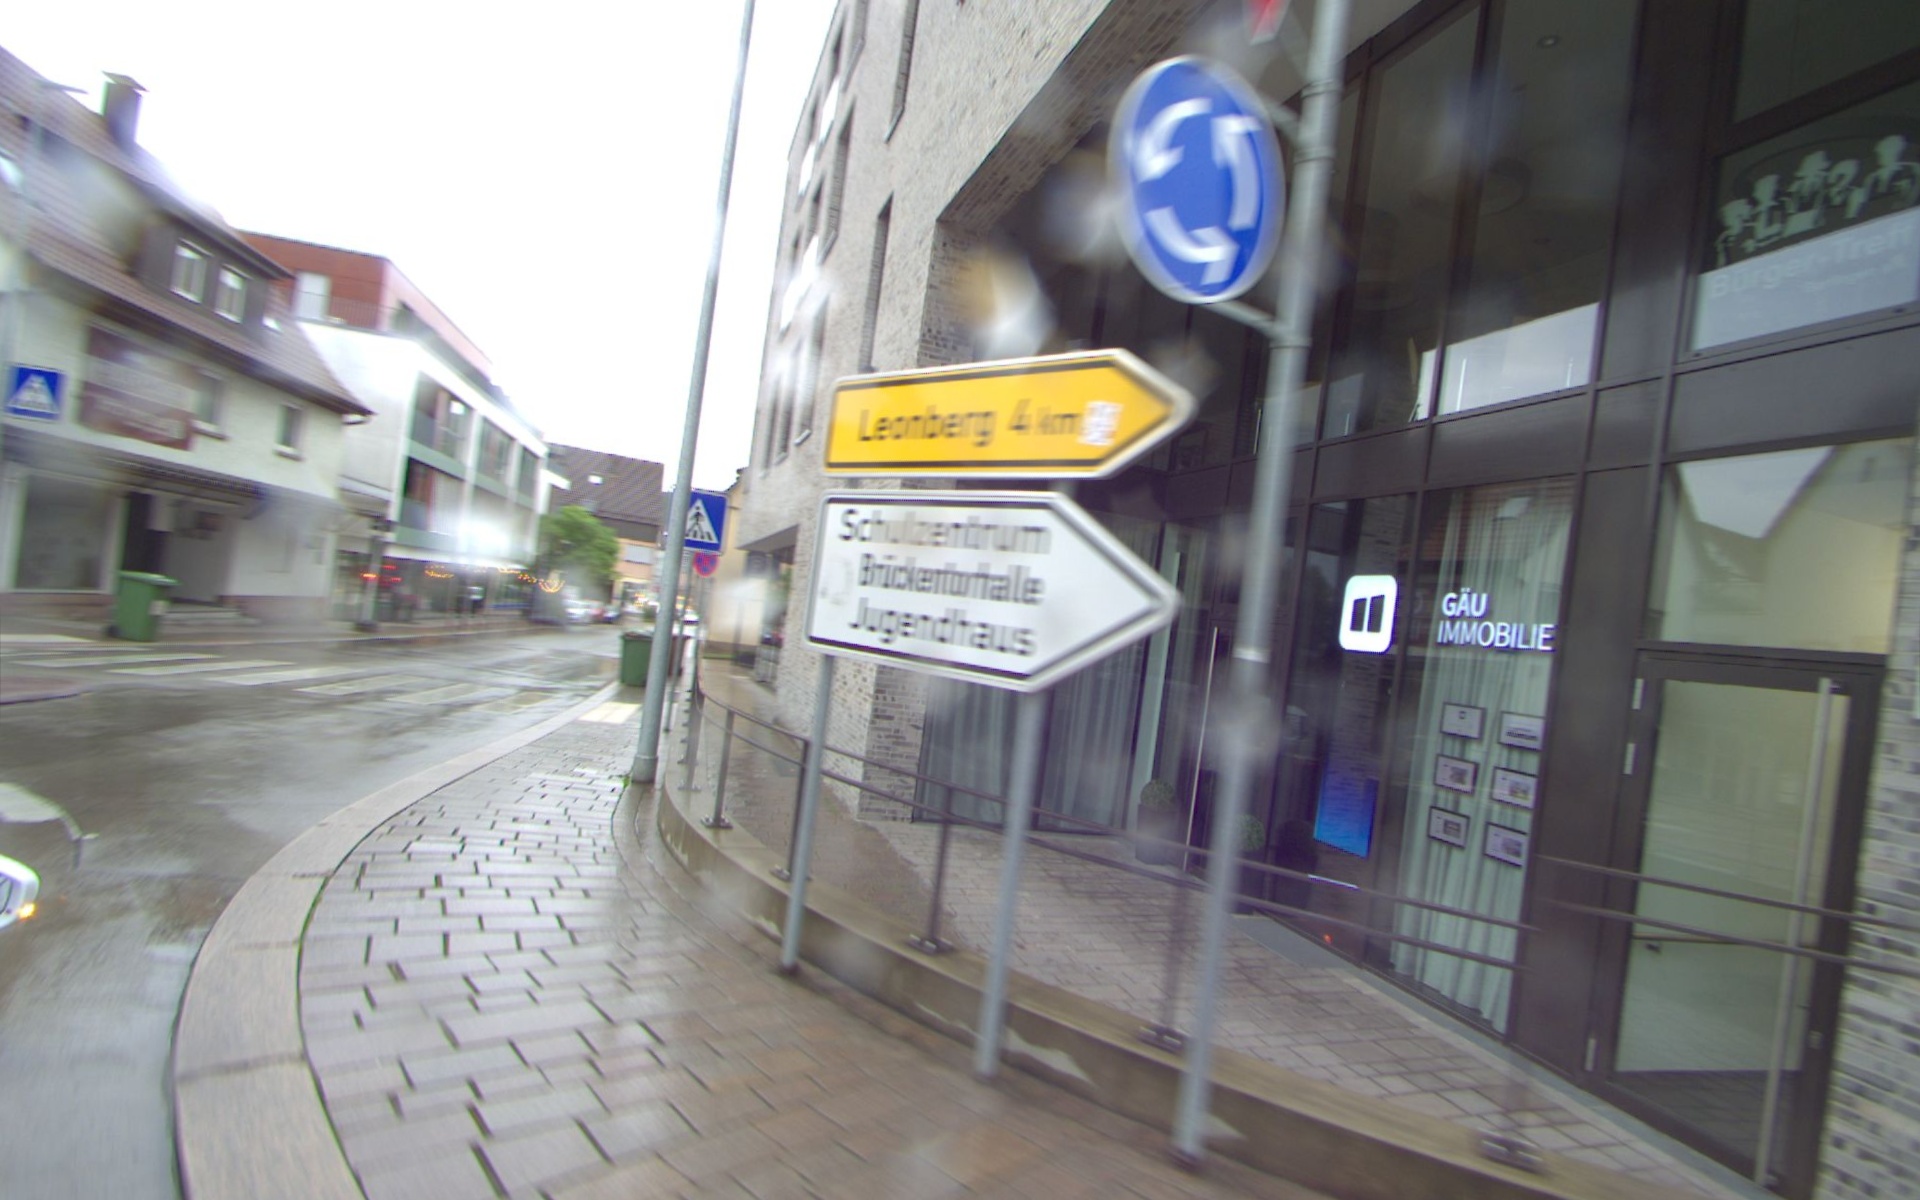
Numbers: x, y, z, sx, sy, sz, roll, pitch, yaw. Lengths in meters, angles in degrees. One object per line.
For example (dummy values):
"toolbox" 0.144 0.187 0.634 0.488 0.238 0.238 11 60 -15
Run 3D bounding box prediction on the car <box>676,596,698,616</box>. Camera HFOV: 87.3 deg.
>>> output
"car" -33.247 0.729 122.355 2.080 2.172 4.849 6 -2 -19

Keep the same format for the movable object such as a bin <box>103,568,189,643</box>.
"movable object such as a bin" -13.252 0.105 16.397 0.679 1.092 0.759 10 -3 -15

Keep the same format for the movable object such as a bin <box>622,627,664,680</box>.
"movable object such as a bin" -7.191 1.209 22.855 0.756 1.108 0.580 7 -2 -14

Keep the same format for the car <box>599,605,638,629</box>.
"car" -25.129 1.272 74.185 1.691 1.474 3.909 9 -2 -6

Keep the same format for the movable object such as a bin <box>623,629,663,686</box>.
"movable object such as a bin" -6.629 1.190 21.046 0.655 1.108 0.550 7 -1 -15

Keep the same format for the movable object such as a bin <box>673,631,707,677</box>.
"movable object such as a bin" -7.144 1.426 26.628 0.756 1.108 0.625 7 -2 -14

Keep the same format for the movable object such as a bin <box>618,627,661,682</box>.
"movable object such as a bin" -7.078 1.199 22.262 0.756 1.108 0.580 7 -2 -14

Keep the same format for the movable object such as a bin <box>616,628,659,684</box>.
"movable object such as a bin" -6.927 1.190 21.640 0.730 1.108 0.656 7 -2 -14

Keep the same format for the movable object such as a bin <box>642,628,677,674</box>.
"movable object such as a bin" -7.877 1.343 26.391 0.756 1.108 0.580 7 -2 -14

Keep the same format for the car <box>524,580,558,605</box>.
"car" -35.883 -0.661 86.225 1.789 1.640 3.984 8 4 -12

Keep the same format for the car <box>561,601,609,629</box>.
"car" -23.614 0.966 63.481 1.762 1.515 4.451 7 -3 -9

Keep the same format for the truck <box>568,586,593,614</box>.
"truck" -33.176 -0.041 88.030 1.577 2.091 3.178 6 3 -16

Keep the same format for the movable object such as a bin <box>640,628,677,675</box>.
"movable object such as a bin" -7.738 1.326 25.816 0.756 1.108 0.580 7 -2 -14
